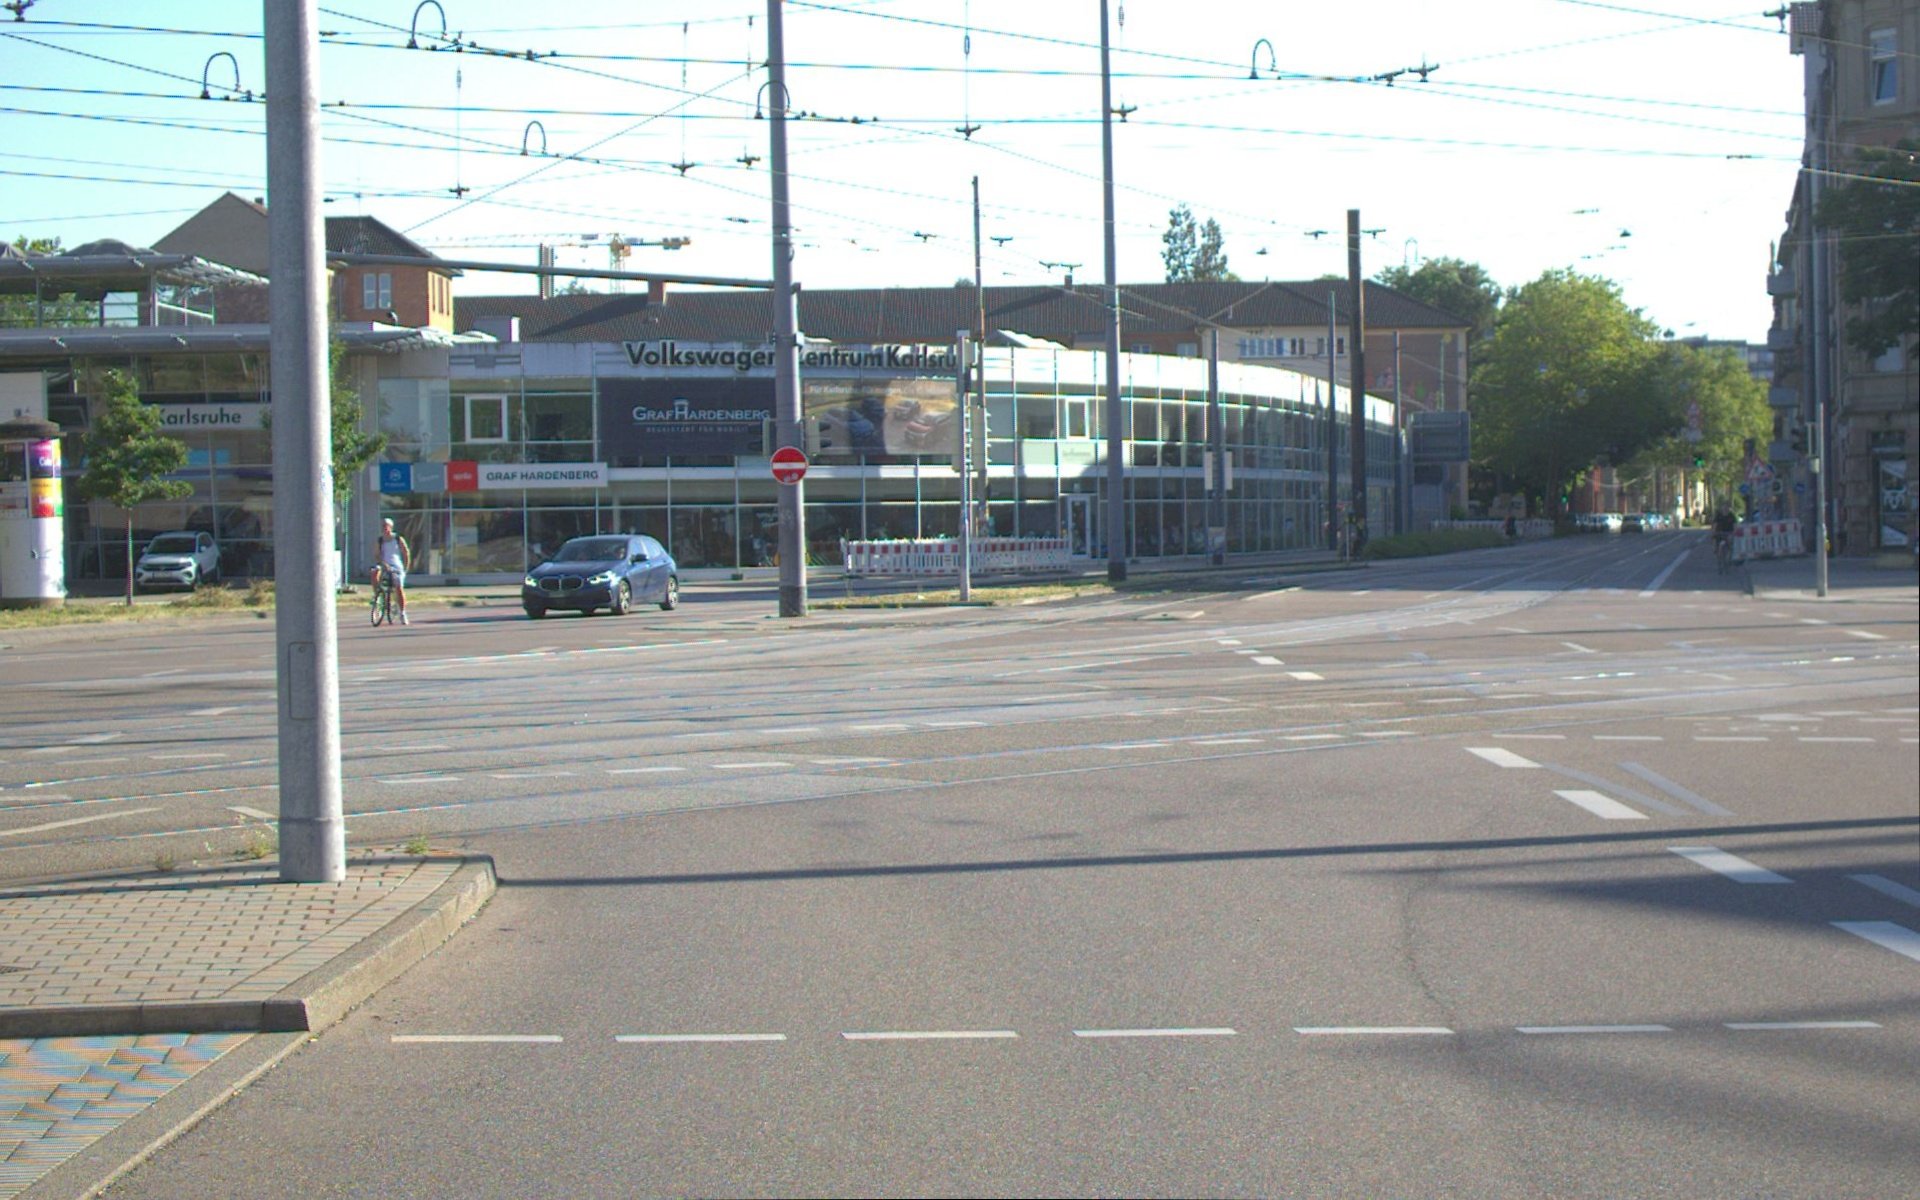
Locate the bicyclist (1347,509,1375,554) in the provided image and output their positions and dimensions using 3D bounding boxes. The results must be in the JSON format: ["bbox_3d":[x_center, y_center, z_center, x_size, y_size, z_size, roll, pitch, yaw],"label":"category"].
[{"bbox_3d":[14.082,-2.393,120.682,0.655,1.567,0.921,1,0,29],"label":"bicyclist"}]

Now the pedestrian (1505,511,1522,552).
[{"bbox_3d":[27.593,-3.407,171.409,0.716,2.007,0.758,1,0,1],"label":"pedestrian"}]

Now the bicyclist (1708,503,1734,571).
[{"bbox_3d":[18.926,-1.568,85.543,0.518,1.695,0.516,1,0,3],"label":"bicyclist"}]

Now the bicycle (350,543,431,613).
[{"bbox_3d":[-9.871,-0.387,59.630,0.613,1.185,1.867,1,1,17],"label":"bicycle"}]

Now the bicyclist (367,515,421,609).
[{"bbox_3d":[-9.830,-0.655,59.751,0.598,1.610,0.822,1,0,17],"label":"bicyclist"}]

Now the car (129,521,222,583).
[{"bbox_3d":[-22.630,-1.382,99.328,1.993,1.744,4.001,1,1,-4],"label":"car"}]

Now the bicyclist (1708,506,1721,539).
[{"bbox_3d":[25.222,-2.588,114.968,0.408,1.112,0.399,1,0,11],"label":"bicyclist"}]

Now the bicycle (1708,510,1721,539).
[{"bbox_3d":[25.235,-2.509,114.970,0.410,0.938,1.844,1,1,12],"label":"bicycle"}]

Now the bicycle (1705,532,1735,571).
[{"bbox_3d":[18.897,-1.192,85.438,0.658,0.949,1.599,1,1,15],"label":"bicycle"}]

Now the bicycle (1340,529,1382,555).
[{"bbox_3d":[14.094,-2.043,120.692,0.639,0.867,2.231,1,1,29],"label":"bicycle"}]

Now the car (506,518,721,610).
[{"bbox_3d":[-6.176,-0.633,61.690,1.996,1.579,3.994,1,1,27],"label":"car"}]
